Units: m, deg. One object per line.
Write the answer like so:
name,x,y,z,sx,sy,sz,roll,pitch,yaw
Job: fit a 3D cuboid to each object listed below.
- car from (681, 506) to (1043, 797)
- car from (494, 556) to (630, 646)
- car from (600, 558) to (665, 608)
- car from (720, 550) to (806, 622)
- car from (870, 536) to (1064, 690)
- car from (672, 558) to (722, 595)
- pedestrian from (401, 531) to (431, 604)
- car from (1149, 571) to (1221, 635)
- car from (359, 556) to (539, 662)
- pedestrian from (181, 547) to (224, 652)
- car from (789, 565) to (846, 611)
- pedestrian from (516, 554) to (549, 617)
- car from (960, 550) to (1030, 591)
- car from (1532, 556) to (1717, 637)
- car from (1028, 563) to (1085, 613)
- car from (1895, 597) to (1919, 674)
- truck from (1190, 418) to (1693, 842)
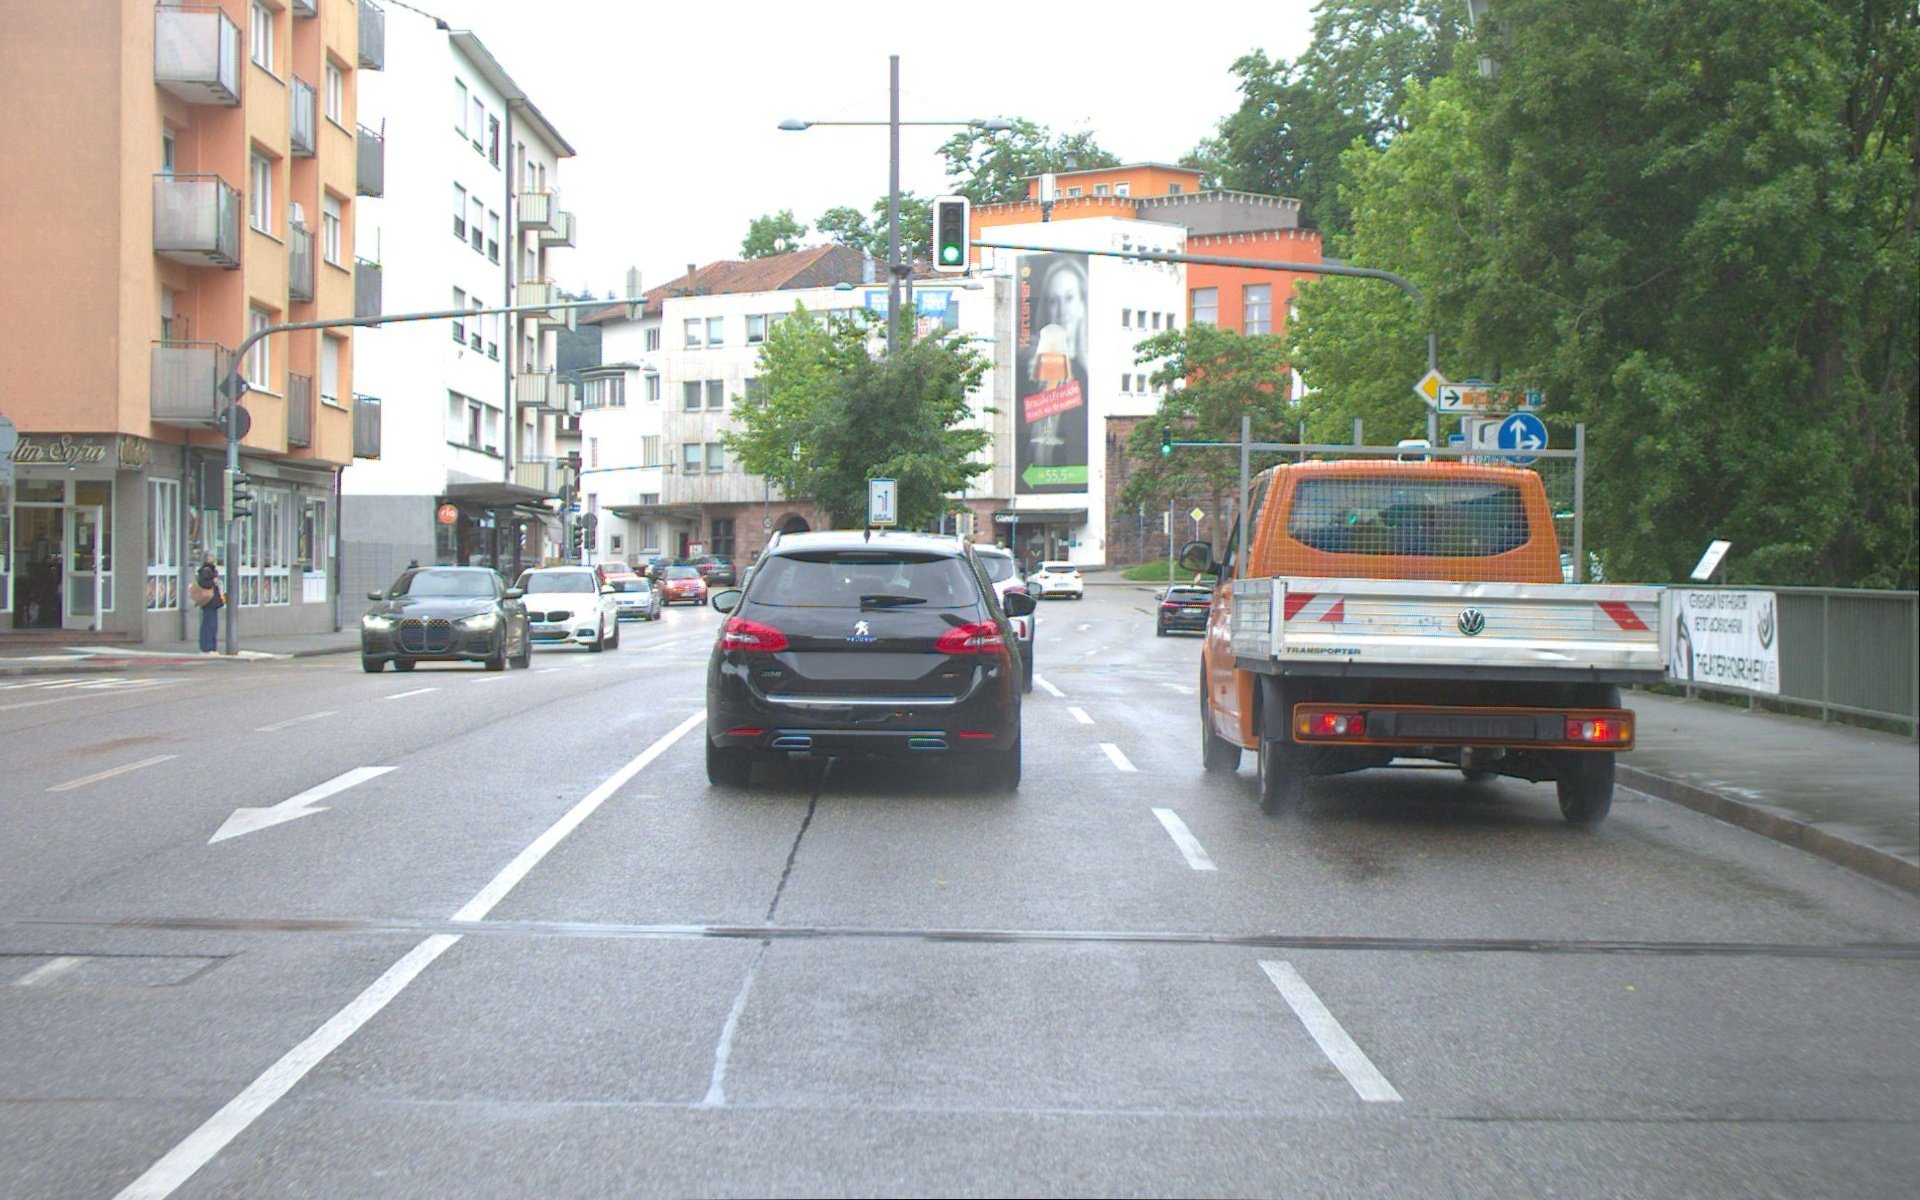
car,-0.478,0.283,20.438,1.795,1.478,3.999,2,0,3
car,-7.003,-0.009,60.859,1.836,1.504,4.821,1,1,0
car,-10.563,-0.555,111.035,1.777,1.520,3.662,1,0,-1
car,-4.499,-0.337,78.952,1.736,1.596,3.919,-1,1,0
car,0.128,0.111,35.381,1.795,1.478,4.000,1,0,3
car,-10.037,-0.911,131.203,1.665,1.395,3.877,0,0,-1
pedestrian,-13.933,-0.832,88.043,0.639,1.854,0.524,2,1,-2
car,6.201,0.097,94.991,1.645,1.559,3.600,4,-2,0
car,-6.753,0.093,45.832,1.791,1.320,4.407,1,1,-1
pedestrian,-12.530,-0.012,56.882,0.530,1.721,0.648,1,0,4
car,-4.565,-0.384,110.497,1.654,1.445,3.543,-1,0,0
pedestrian,-14.002,-0.477,112.687,0.726,2.007,0.657,5,-2,-33
car,1.428,-1.211,142.074,1.644,1.559,3.601,4,-2,-20
car,15.684,-0.083,81.291,3.987,1.644,1.917,4,1,3
car,3.700,-0.463,131.932,1.993,1.815,4.000,2,1,0
car,26.711,0.983,92.432,1.902,2.007,3.726,4,-2,-2
truck,2.523,0.098,19.257,2.122,2.018,4.716,2,1,0
